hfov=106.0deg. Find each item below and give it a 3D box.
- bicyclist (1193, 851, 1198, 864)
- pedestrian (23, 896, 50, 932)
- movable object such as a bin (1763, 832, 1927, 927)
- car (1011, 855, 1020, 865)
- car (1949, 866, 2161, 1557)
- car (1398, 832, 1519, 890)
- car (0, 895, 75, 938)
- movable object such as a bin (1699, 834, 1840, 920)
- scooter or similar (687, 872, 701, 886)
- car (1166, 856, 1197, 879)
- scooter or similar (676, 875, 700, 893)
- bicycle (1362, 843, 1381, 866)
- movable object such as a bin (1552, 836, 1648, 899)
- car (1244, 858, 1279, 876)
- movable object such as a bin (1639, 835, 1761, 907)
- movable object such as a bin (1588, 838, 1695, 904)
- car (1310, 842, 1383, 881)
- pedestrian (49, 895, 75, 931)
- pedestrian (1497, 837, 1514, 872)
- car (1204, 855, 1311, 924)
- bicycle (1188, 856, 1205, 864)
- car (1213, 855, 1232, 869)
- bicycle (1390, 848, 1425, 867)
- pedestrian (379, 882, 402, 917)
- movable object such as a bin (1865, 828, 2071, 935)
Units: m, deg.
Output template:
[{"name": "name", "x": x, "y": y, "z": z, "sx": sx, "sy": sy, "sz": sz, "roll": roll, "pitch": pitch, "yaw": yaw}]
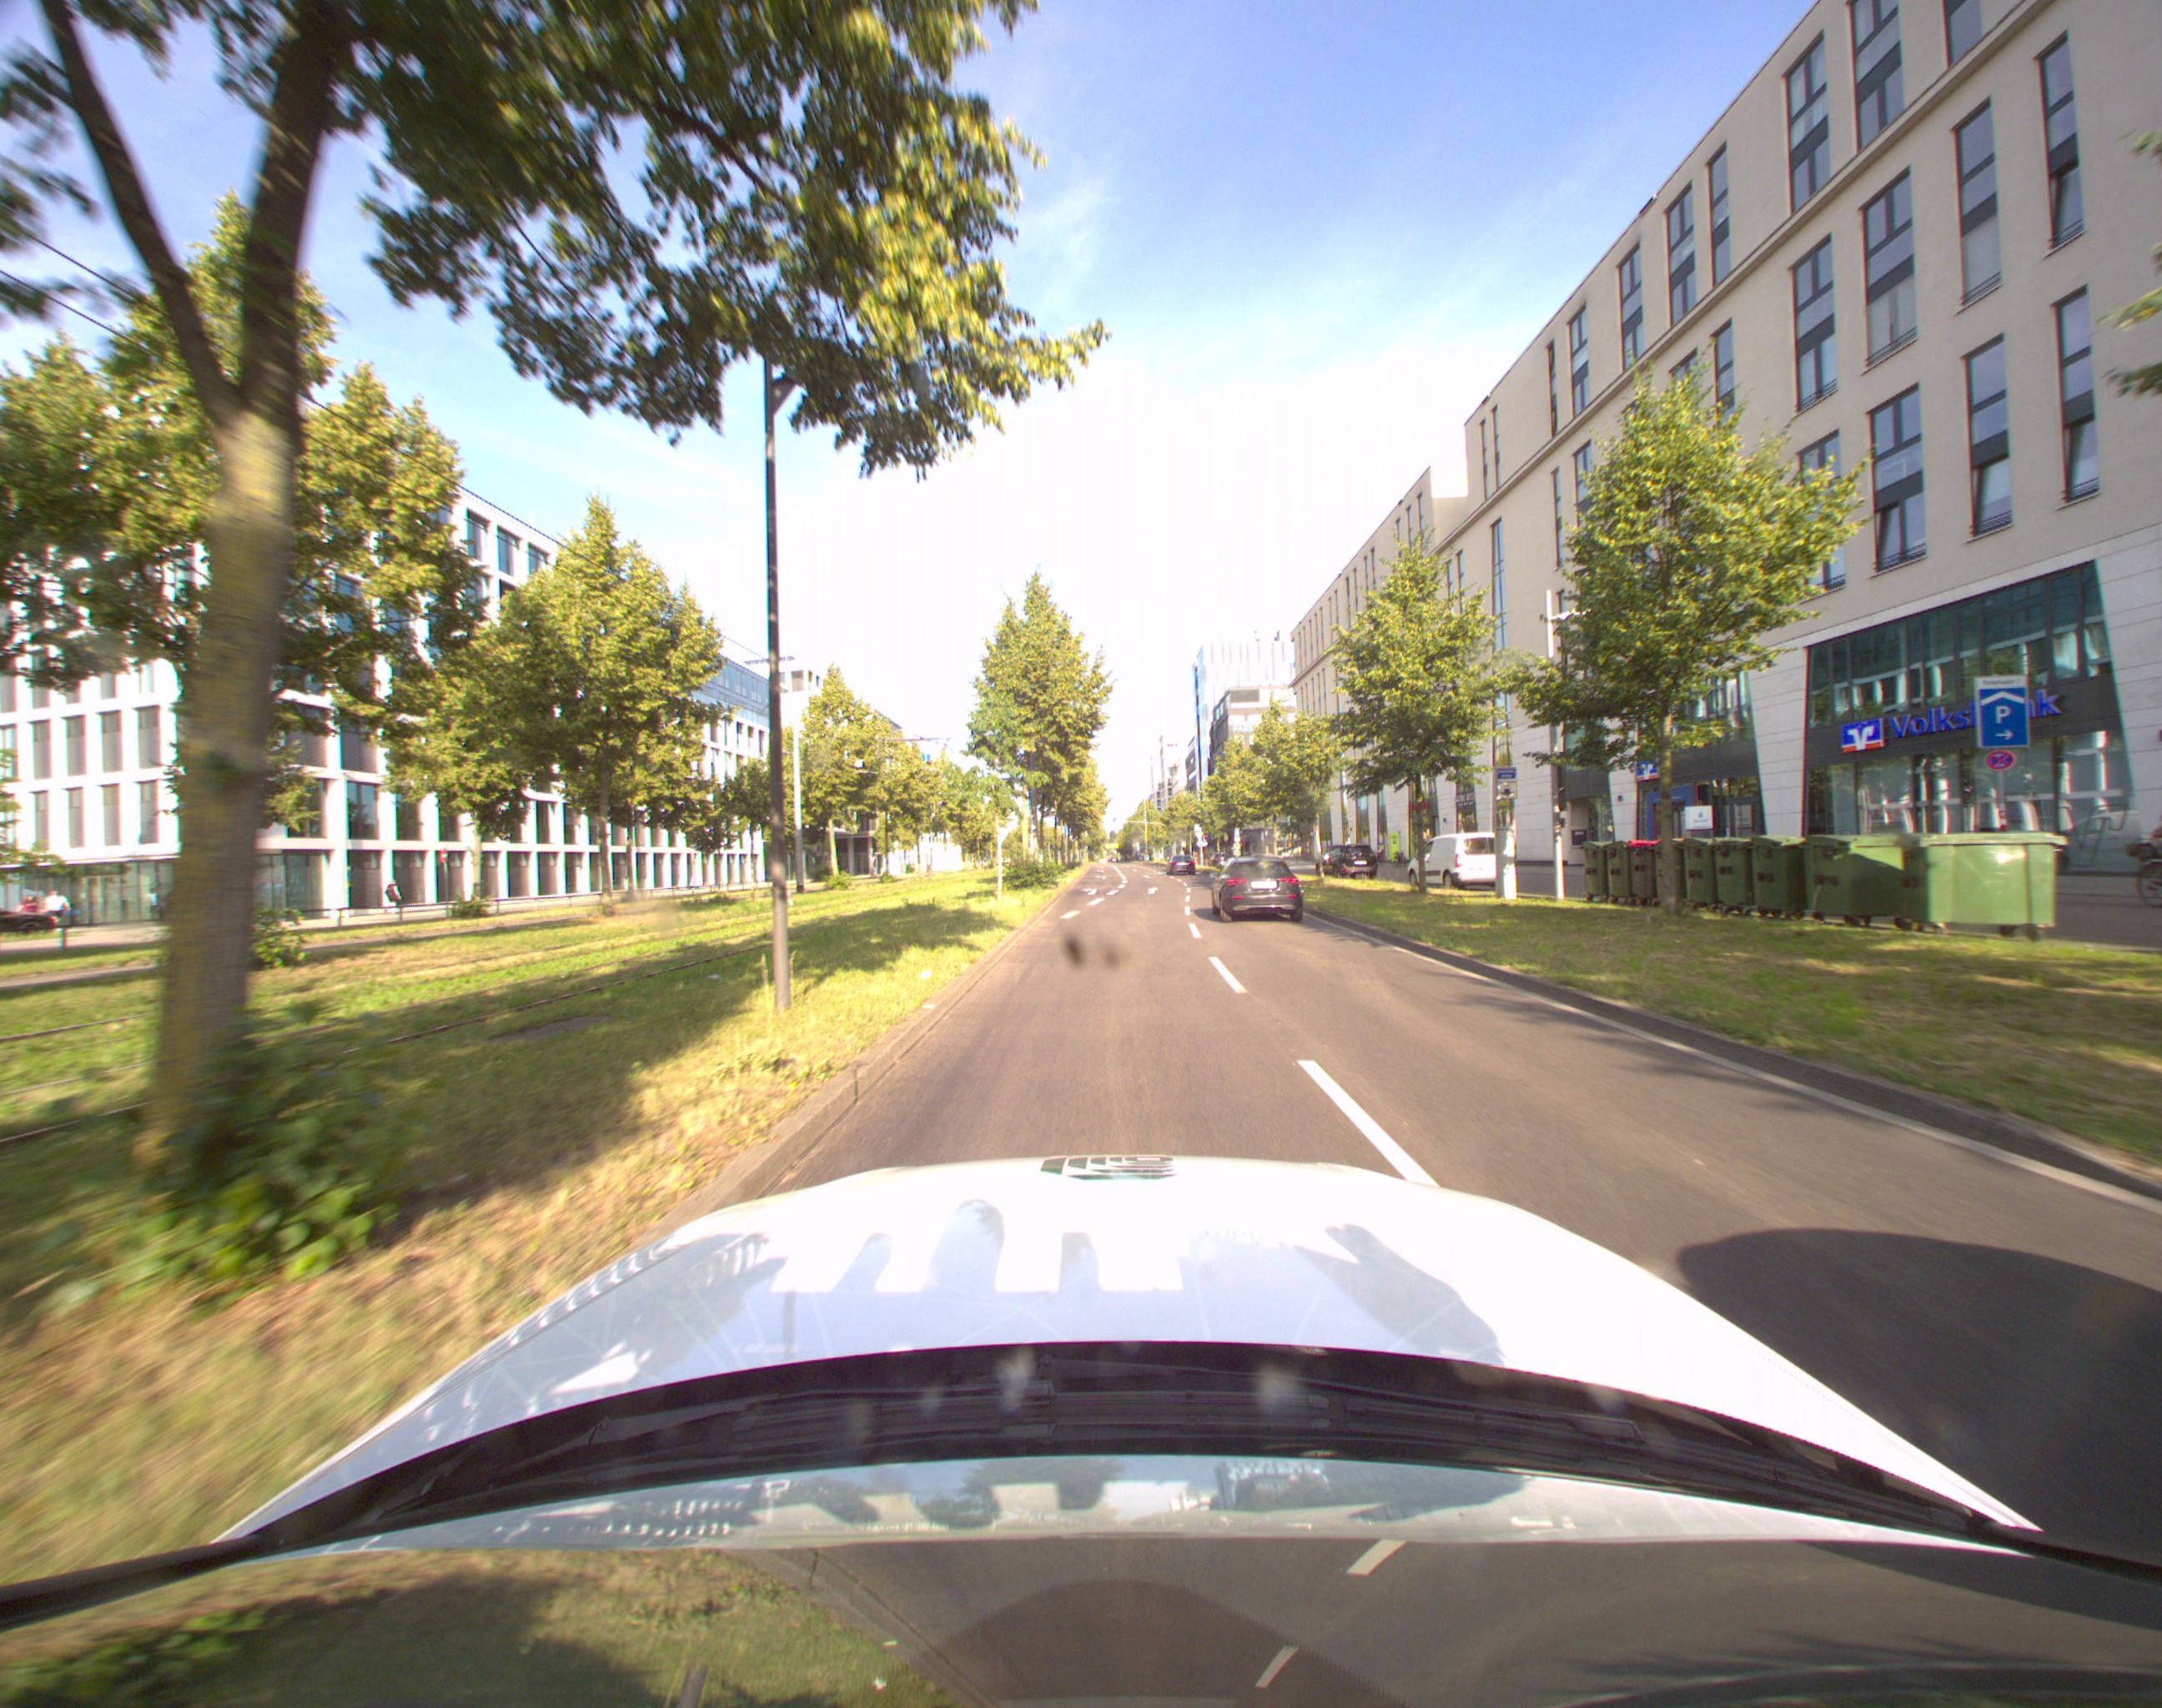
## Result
[{"name": "bicyclist", "x": 14.990, "y": 0.409, "z": 106.505, "sx": 0.573, "sy": 1.707, "sz": 0.540, "roll": 0, "pitch": -1, "yaw": -3}, {"name": "pedestrian", "x": -49.248, "y": 2.810, "z": 38.402, "sx": 0.585, "sy": 1.629, "sz": 0.637, "roll": 3, "pitch": 1, "yaw": 25}, {"name": "movable object such as a bin", "x": 11.101, "y": 0.356, "z": 11.898, "sx": 1.274, "sy": 1.302, "sz": 1.190, "roll": 0, "pitch": -1, "yaw": -2}, {"name": "car", "x": -12.506, "y": 1.112, "z": 155.491, "sx": 1.680, "sy": 1.775, "sz": 3.879, "roll": 0, "pitch": -1, "yaw": -2}, {"name": "car", "x": 2.976, "y": 0.715, "z": 0.127, "sx": 1.554, "sy": 1.424, "sz": 3.908, "roll": 0, "pitch": -1, "yaw": 1}, {"name": "car", "x": 11.937, "y": 0.237, "z": 26.070, "sx": 1.822, "sy": 1.712, "sz": 4.294, "roll": 0, "pitch": -1, "yaw": -1}, {"name": "car", "x": -44.785, "y": 2.600, "z": 33.393, "sx": 1.840, "sy": 1.672, "sz": 4.017, "roll": -1, "pitch": -1, "yaw": 17}, {"name": "movable object such as a bin", "x": 11.155, "y": 0.363, "z": 13.248, "sx": 1.274, "sy": 1.318, "sz": 1.190, "roll": 0, "pitch": -1, "yaw": -2}, {"name": "scooter or similar", "x": -34.255, "y": 2.213, "z": 72.045, "sx": 0.333, "sy": 1.226, "sz": 1.304, "roll": -1, "pitch": -1, "yaw": 15}, {"name": "car", "x": 7.065, "y": 0.943, "z": 57.668, "sx": 1.853, "sy": 1.524, "sz": 3.787, "roll": 0, "pitch": -1, "yaw": 2}, {"name": "scooter or similar", "x": -33.908, "y": 2.600, "z": 70.338, "sx": 1.919, "sy": 1.477, "sz": 0.415, "roll": -1, "pitch": -1, "yaw": 5}, {"name": "bicycle", "x": 20.280, "y": 0.020, "z": 56.910, "sx": 0.553, "sy": 1.567, "sz": 2.213, "roll": 0, "pitch": -1, "yaw": 2}, {"name": "movable object such as a bin", "x": 10.978, "y": 0.284, "z": 17.271, "sx": 1.274, "sy": 1.291, "sz": 1.177, "roll": 0, "pitch": -1, "yaw": -2}, {"name": "car", "x": 13.005, "y": 0.905, "z": 58.806, "sx": 1.702, "sy": 1.242, "sz": 3.905, "roll": 0, "pitch": -1, "yaw": 1}, {"name": "movable object such as a bin", "x": 11.034, "y": 0.300, "z": 14.570, "sx": 1.274, "sy": 1.237, "sz": 1.190, "roll": 0, "pitch": -1, "yaw": -2}, {"name": "movable object such as a bin", "x": 11.021, "y": 0.335, "z": 16.056, "sx": 1.274, "sy": 1.237, "sz": 1.190, "roll": 0, "pitch": -1, "yaw": -2}, {"name": "car", "x": 12.352, "y": 0.307, "z": 38.215, "sx": 1.891, "sy": 1.708, "sz": 4.677, "roll": 0, "pitch": 0, "yaw": 0}, {"name": "pedestrian", "x": -48.887, "y": 2.816, "z": 39.071, "sx": 0.585, "sy": 1.629, "sz": 0.637, "roll": 3, "pitch": 1, "yaw": 25}, {"name": "pedestrian", "x": 21.772, "y": 0.046, "z": 41.757, "sx": 0.535, "sy": 1.763, "sz": 0.646, "roll": 0, "pitch": -1, "yaw": 1}, {"name": "car", "x": 4.009, "y": 0.768, "z": 19.080, "sx": 1.767, "sy": 1.424, "sz": 3.962, "roll": 0, "pitch": -1, "yaw": 2}, {"name": "bicycle", "x": 15.074, "y": 0.821, "z": 106.519, "sx": 2.129, "sy": 1.013, "sz": 0.571, "roll": 0, "pitch": -1, "yaw": -3}, {"name": "car", "x": 13.817, "y": 0.768, "z": 79.841, "sx": 1.598, "sy": 1.370, "sz": 4.164, "roll": -1, "pitch": -1, "yaw": 6}, {"name": "bicycle", "x": 20.233, "y": 0.249, "z": 50.488, "sx": 1.880, "sy": 1.084, "sz": 0.639, "roll": -4, "pitch": -2, "yaw": 38}, {"name": "pedestrian", "x": -34.915, "y": 2.286, "z": 41.191, "sx": 0.565, "sy": 1.728, "sz": 0.692, "roll": 0, "pitch": -1, "yaw": 1}, {"name": "movable object such as a bin", "x": 11.184, "y": 0.335, "z": 10.374, "sx": 1.385, "sy": 1.237, "sz": 1.343, "roll": -1, "pitch": -1, "yaw": 28}]
